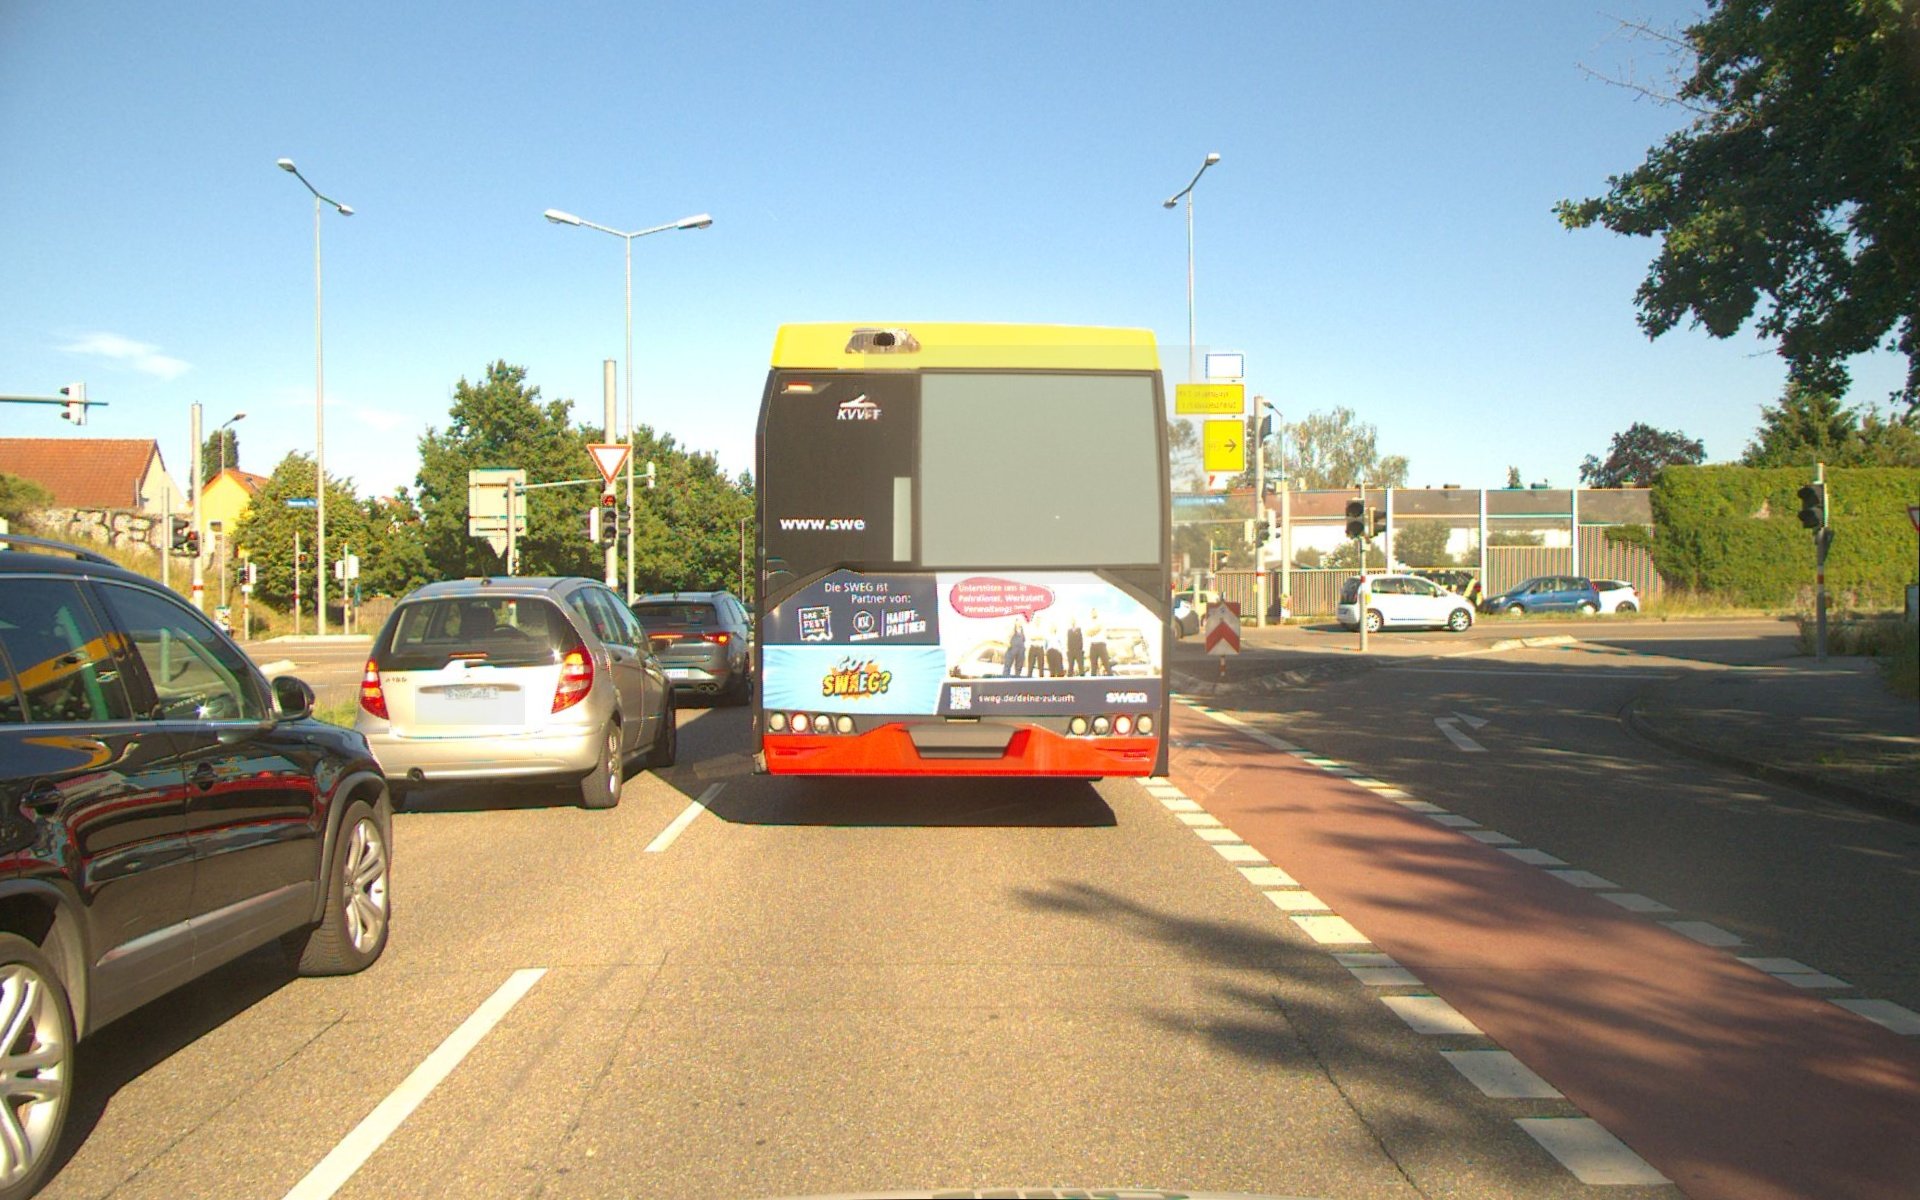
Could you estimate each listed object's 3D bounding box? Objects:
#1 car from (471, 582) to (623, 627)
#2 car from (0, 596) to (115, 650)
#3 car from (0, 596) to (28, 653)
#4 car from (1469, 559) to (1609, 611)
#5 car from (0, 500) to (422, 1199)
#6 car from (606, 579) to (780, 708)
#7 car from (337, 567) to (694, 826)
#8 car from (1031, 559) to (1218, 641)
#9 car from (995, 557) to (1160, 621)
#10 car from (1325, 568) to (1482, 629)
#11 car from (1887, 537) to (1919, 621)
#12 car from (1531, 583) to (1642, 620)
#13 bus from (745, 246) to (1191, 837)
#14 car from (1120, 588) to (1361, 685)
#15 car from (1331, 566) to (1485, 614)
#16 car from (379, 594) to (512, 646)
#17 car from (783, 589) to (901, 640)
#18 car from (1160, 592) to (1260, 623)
[{"bbox_3d":[-12.415,0.137,49.884,4.204,1.325,1.573,0,0,-4],"label":"car"},{"bbox_3d":[-26.692,0.652,47.128,4.333,1.485,1.571,1,-1,-10],"label":"car"},{"bbox_3d":[-25.634,0.585,41.247,3.775,1.409,1.679,1,-1,-10],"label":"car"},{"bbox_3d":[18.556,-0.472,53.073,3.911,1.580,1.693,1,-1,-8],"label":"car"},{"bbox_3d":[-3.182,0.651,5.076,1.784,1.703,4.001,-2,-1,-1],"label":"car"},{"bbox_3d":[-3.378,0.531,21.530,1.555,1.511,3.683,-1,0,2],"label":"car"},{"bbox_3d":[-3.217,0.590,12.805,1.718,1.648,4.033,0,2,-1],"label":"car"},{"bbox_3d":[3.772,-0.003,38.071,4.036,1.832,1.454,-1,-1,-10],"label":"car"},{"bbox_3d":[3.091,-0.278,43.976,4.139,1.590,1.761,1,-1,-6],"label":"car"},{"bbox_3d":[11.491,-0.046,42.936,3.600,1.511,1.591,-1,0,-7],"label":"car"},{"bbox_3d":[16.643,-0.314,26.566,3.355,1.318,1.448,1,-1,-26],"label":"car"},{"bbox_3d":[22.694,0.048,59.964,3.511,1.287,1.353,0,0,-3],"label":"car"},{"bbox_3d":[-0.038,-0.377,15.566,2.543,3.393,11.981,1,0,-1],"label":"bus"},{"bbox_3d":[4.177,0.522,24.905,3.447,1.325,1.576,1,1,8],"label":"car"},{"bbox_3d":[13.130,-0.290,48.613,4.078,1.325,1.573,1,-1,-4],"label":"car"},{"bbox_3d":[-16.961,0.638,54.637,3.910,1.640,1.693,0,0,-7],"label":"car"},{"bbox_3d":[-3.986,0.472,55.783,3.910,1.640,1.693,0,0,-7],"label":"car"},{"bbox_3d":[9.360,0.273,62.155,3.676,1.156,1.576,0,0,7],"label":"car"}]
